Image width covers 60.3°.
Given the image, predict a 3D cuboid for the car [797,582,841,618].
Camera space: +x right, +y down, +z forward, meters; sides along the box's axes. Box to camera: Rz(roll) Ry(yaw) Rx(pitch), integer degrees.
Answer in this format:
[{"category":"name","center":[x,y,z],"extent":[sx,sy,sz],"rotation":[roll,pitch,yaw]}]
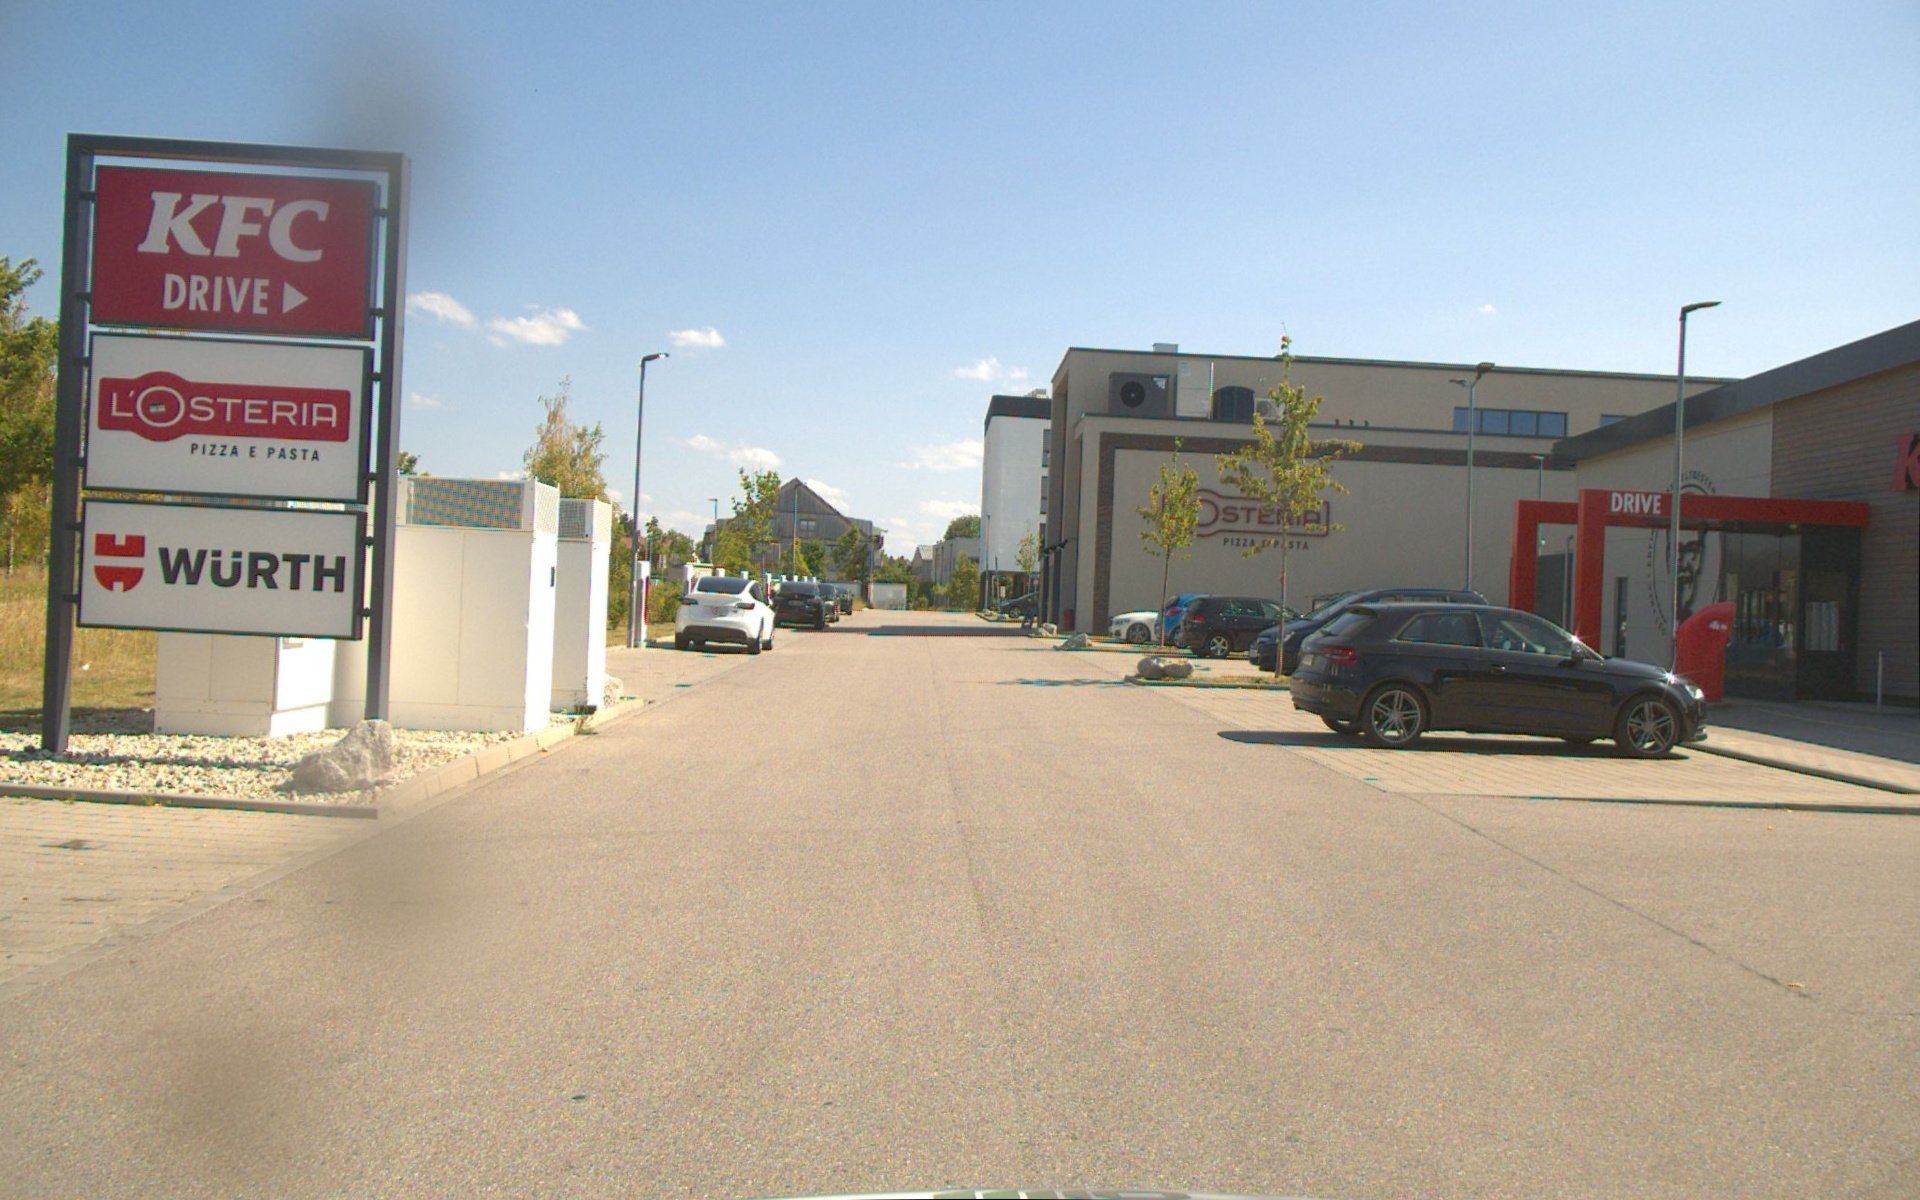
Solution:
[{"category":"car","center":[-6.026,-0.020,70.961],"extent":[1.708,1.411,3.998],"rotation":[2,0,-3]}]

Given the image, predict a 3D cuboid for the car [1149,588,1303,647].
[{"category":"car","center":[7.363,0.470,46.038],"extent":[3.909,1.445,1.649],"rotation":[2,0,-5]}]

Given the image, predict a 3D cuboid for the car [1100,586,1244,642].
[{"category":"car","center":[6.220,0.396,48.771],"extent":[3.909,1.445,1.649],"rotation":[2,0,-5]}]

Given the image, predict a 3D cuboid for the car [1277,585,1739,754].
[{"category":"car","center":[5.511,0.671,16.937],"extent":[4.116,1.466,1.697],"rotation":[3,0,-3]}]

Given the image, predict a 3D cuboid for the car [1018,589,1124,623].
[{"category":"car","center":[4.352,0.245,65.236],"extent":[3.908,1.176,1.999],"rotation":[2,1,-3]}]

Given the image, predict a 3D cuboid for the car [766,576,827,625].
[{"category":"car","center":[-5.814,-0.008,59.084],"extent":[1.906,1.595,3.998],"rotation":[2,0,-3]}]

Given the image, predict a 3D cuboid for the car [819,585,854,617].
[{"category":"car","center":[-6.562,0.017,87.904],"extent":[1.708,1.595,3.998],"rotation":[2,0,-3]}]

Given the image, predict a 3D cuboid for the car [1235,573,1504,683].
[{"category":"car","center":[7.196,0.485,29.251],"extent":[4.287,1.715,1.639],"rotation":[2,0,-7]}]

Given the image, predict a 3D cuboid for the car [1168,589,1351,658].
[{"category":"car","center":[7.051,0.538,39.129],"extent":[3.909,1.445,1.649],"rotation":[2,0,-5]}]

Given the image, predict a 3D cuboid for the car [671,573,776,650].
[{"category":"car","center":[-5.324,0.232,37.712],"extent":[1.906,1.595,3.998],"rotation":[2,0,-2]}]
